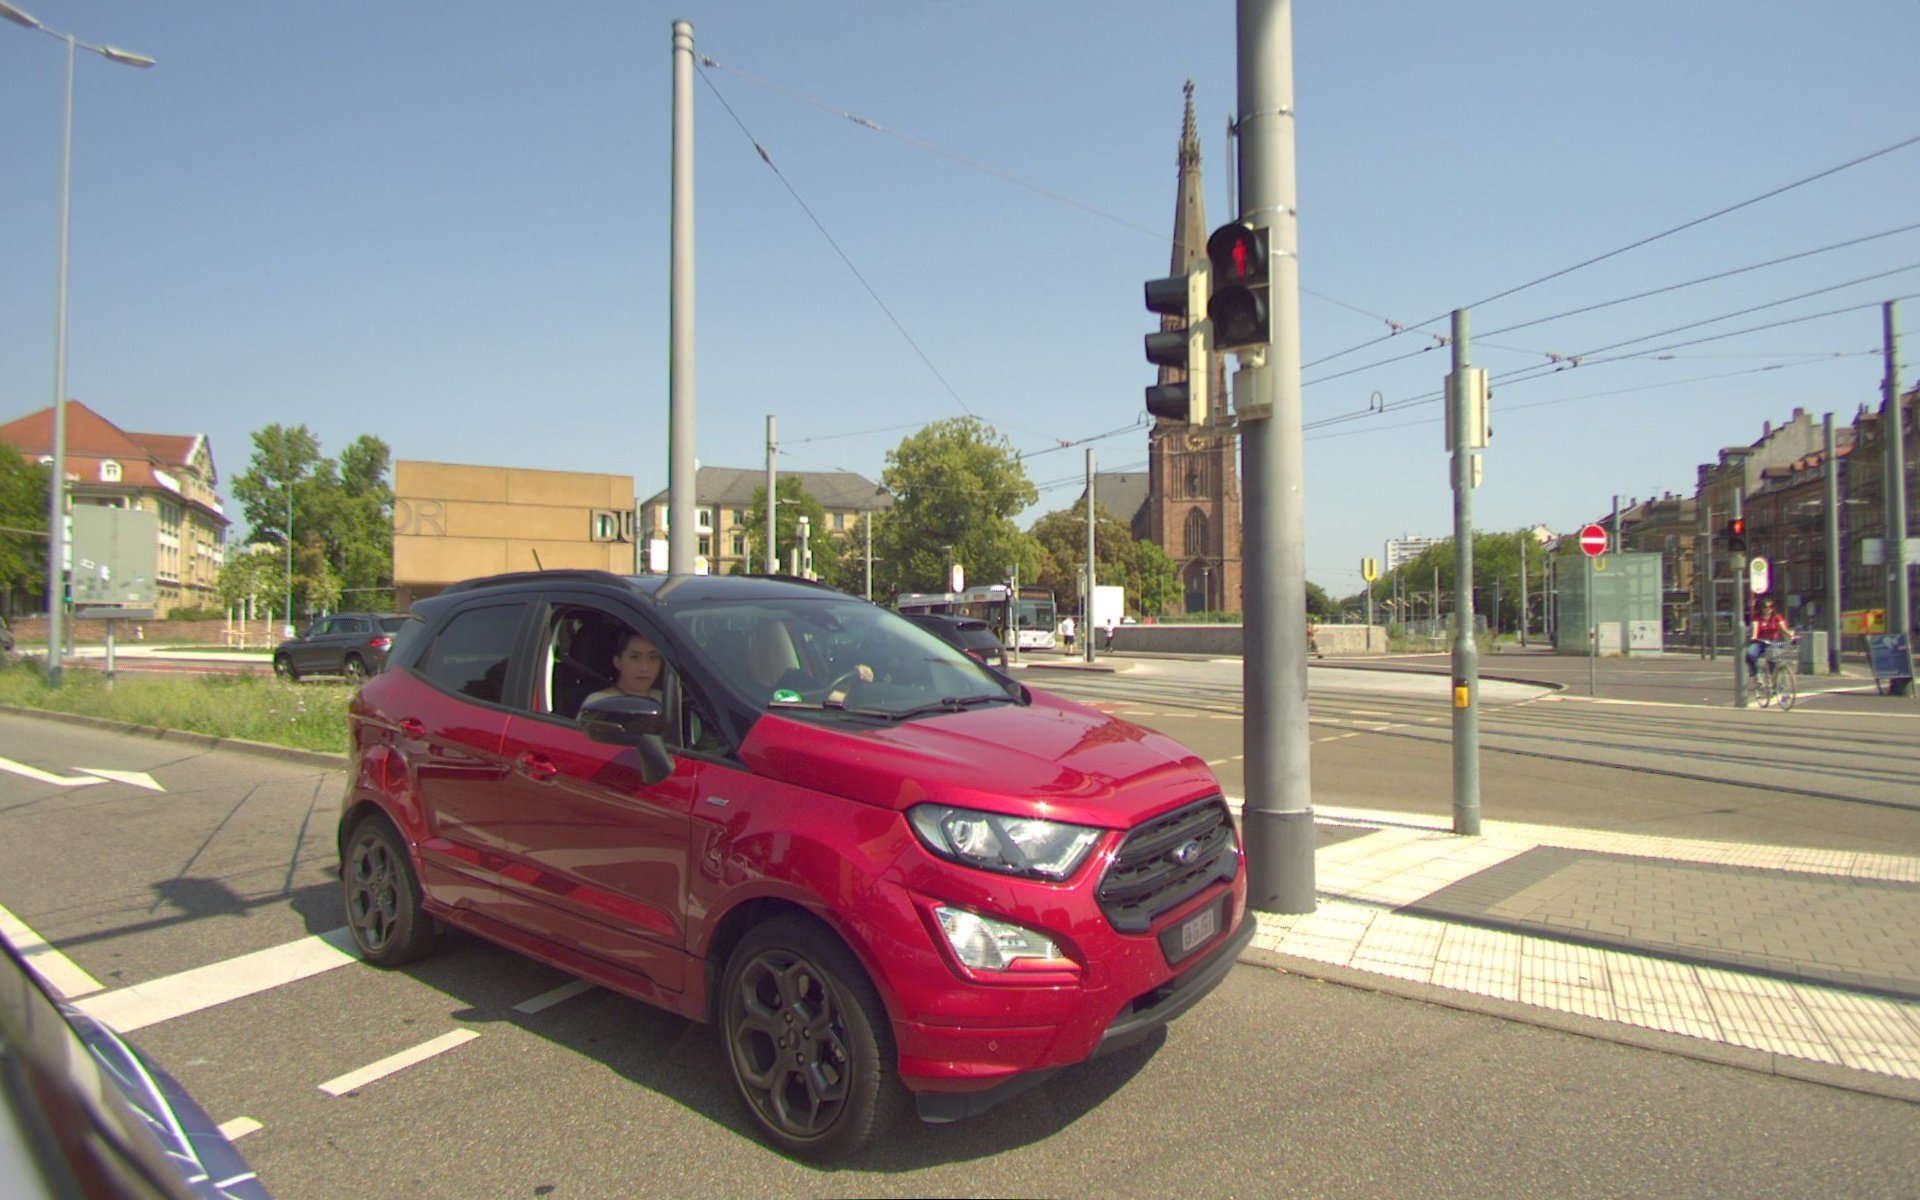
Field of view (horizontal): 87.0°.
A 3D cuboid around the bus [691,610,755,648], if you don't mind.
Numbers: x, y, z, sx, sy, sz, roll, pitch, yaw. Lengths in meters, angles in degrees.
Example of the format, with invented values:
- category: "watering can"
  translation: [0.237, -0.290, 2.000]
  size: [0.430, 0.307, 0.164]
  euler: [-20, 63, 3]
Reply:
- category: "bus"
  translation: [-21.155, 2.467, 89.568]
  size: [2.498, 3.055, 12.476]
  euler: [-1, 0, -27]

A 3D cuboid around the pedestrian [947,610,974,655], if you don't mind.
- category: "pedestrian"
  translation: [0.018, 1.298, 40.216]
  size: [0.780, 1.793, 0.952]
  euler: [-1, -3, 21]

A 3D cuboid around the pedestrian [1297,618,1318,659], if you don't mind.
- category: "pedestrian"
  translation: [14.259, 1.578, 41.580]
  size: [0.566, 1.671, 0.801]
  euler: [0, 0, 0]

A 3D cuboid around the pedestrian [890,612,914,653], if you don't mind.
- category: "pedestrian"
  translation: [-2.596, 1.474, 45.292]
  size: [0.780, 1.793, 0.952]
  euler: [-1, -3, 21]

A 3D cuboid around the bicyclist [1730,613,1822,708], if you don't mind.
- category: "bicyclist"
  translation: [13.132, 0.952, 16.325]
  size: [0.872, 1.470, 0.973]
  euler: [-1, -2, 22]

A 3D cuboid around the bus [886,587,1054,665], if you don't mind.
- category: "bus"
  translation: [0.089, 1.274, 49.740]
  size: [2.631, 3.356, 12.799]
  euler: [1, -2, -27]

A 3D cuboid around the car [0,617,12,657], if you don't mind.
- category: "car"
  translation: [-48.134, 1.809, 49.419]
  size: [1.966, 1.985, 4.011]
  euler: [1, -2, -33]

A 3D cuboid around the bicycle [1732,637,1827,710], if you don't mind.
- category: "bicycle"
  translation: [13.130, 1.143, 16.268]
  size: [0.610, 1.077, 1.899]
  euler: [-1, -2, 21]

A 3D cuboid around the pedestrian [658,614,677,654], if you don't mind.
- category: "pedestrian"
  translation: [-12.241, 1.418, 42.353]
  size: [0.508, 1.658, 0.567]
  euler: [-1, 0, 21]

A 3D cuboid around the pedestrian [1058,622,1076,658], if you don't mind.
- category: "pedestrian"
  translation: [4.689, 1.761, 44.471]
  size: [0.567, 1.540, 0.602]
  euler: [2, -3, -27]

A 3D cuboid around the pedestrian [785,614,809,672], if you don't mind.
- category: "pedestrian"
  translation: [-5.270, 1.384, 32.766]
  size: [0.560, 1.830, 0.553]
  euler: [-2, -2, 38]

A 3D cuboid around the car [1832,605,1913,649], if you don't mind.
- category: "car"
  translation: [63.925, 1.881, 70.999]
  size: [2.291, 2.911, 5.557]
  euler: [-2, -2, 22]

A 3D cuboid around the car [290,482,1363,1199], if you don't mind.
- category: "car"
  translation: [-0.803, 0.650, 3.916]
  size: [4.076, 1.630, 1.745]
  euler: [-2, -3, 38]

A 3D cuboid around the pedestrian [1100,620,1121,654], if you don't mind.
- category: "pedestrian"
  translation: [7.639, 1.885, 51.416]
  size: [0.771, 1.741, 0.680]
  euler: [1, -2, -32]

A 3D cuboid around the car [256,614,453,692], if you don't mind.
- category: "car"
  translation: [-14.182, 1.194, 23.664]
  size: [4.636, 1.665, 1.884]
  euler: [-1, -2, 29]

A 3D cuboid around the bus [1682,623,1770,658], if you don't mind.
- category: "bus"
  translation: [71.277, 3.773, 94.548]
  size: [2.521, 3.055, 12.359]
  euler: [-1, -2, 18]

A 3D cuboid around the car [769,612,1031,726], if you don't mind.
- category: "car"
  translation: [-0.939, 0.987, 15.363]
  size: [3.691, 1.532, 1.662]
  euler: [-1, -2, 31]
